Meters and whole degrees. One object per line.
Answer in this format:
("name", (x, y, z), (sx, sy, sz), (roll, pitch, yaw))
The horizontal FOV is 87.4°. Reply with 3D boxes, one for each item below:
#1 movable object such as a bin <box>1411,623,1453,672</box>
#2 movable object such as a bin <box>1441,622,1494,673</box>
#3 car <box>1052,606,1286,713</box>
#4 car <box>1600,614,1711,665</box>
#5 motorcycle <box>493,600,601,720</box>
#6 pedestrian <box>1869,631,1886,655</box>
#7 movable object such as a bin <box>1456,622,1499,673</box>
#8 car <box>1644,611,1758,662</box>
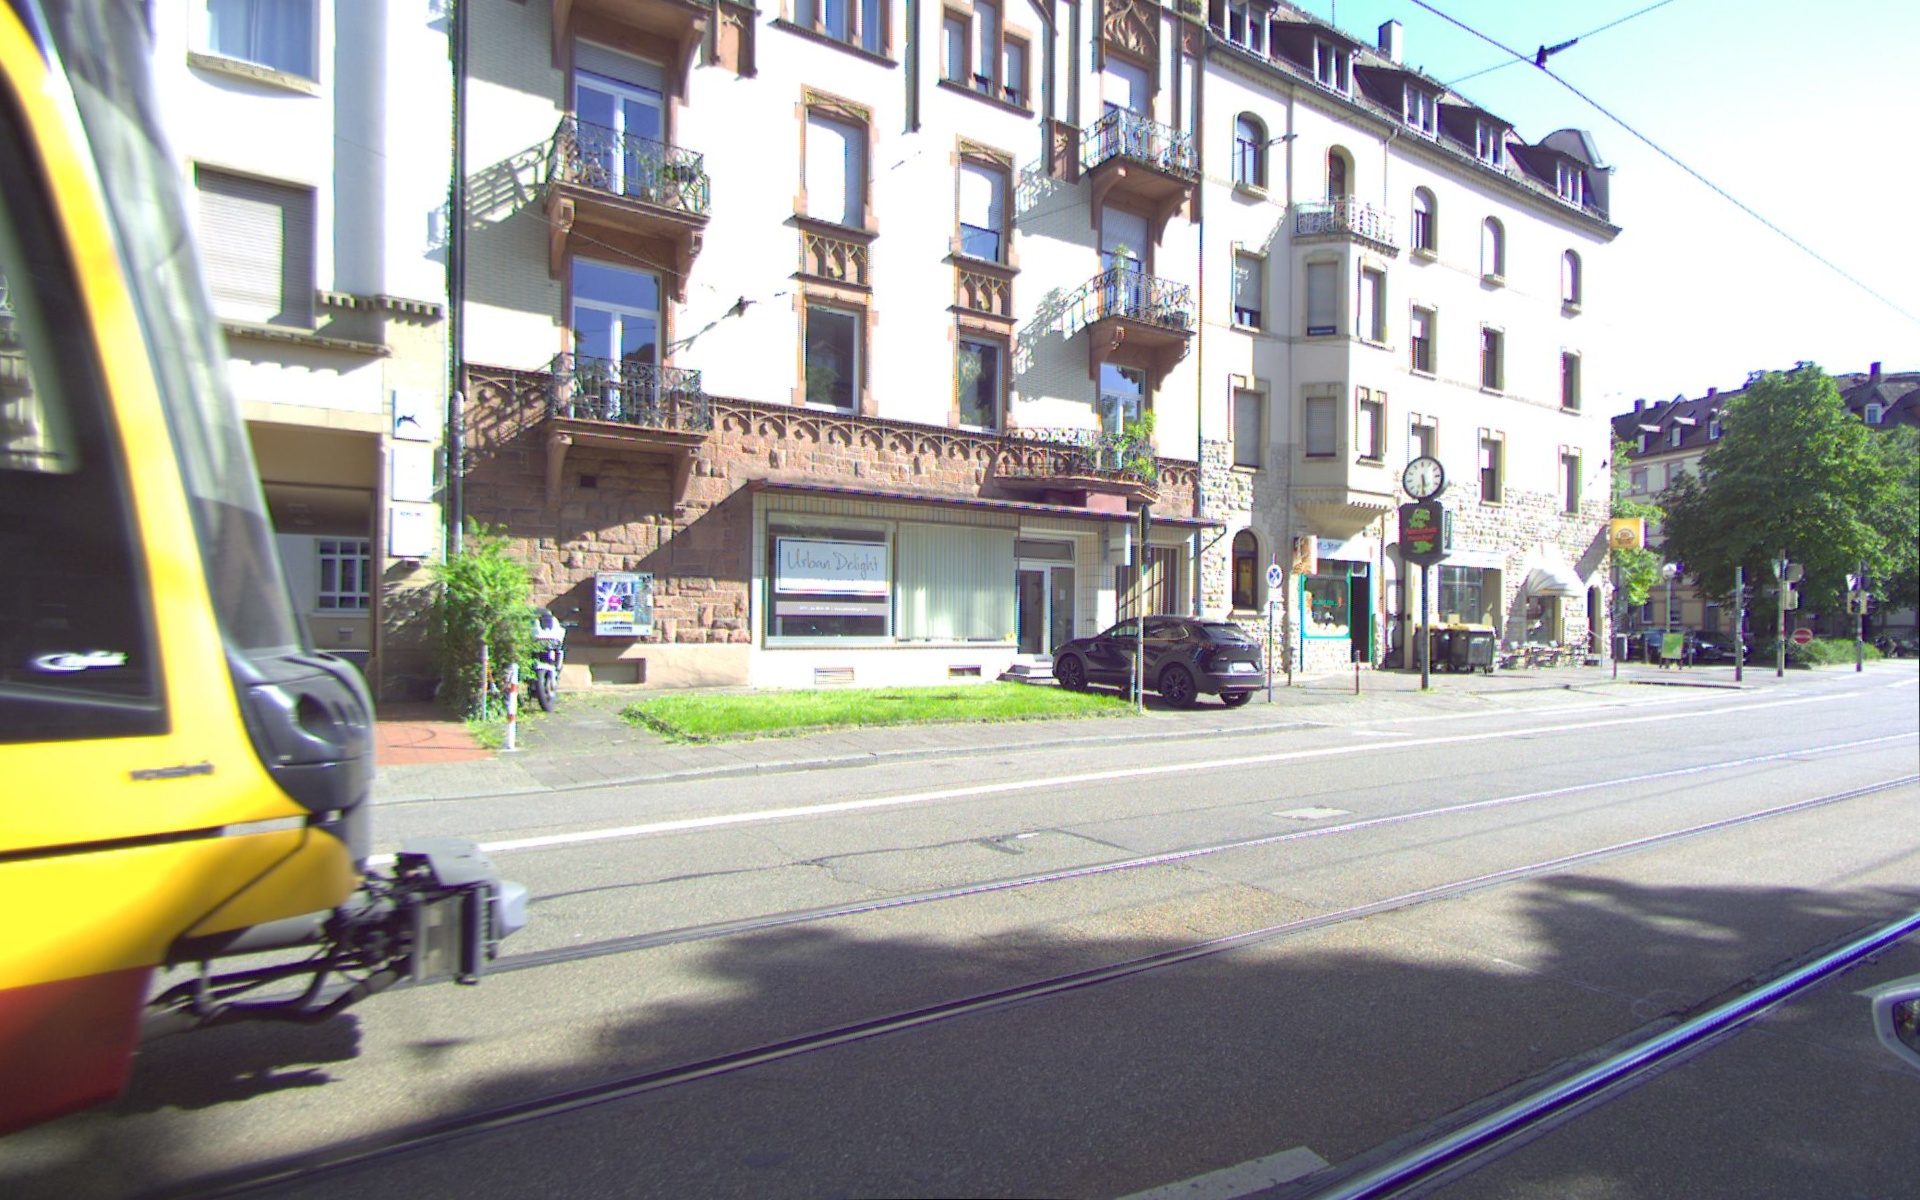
("movable object such as a bin", (13.409, 1.332, 28.533), (0.647, 1.343, 0.853), (2, 0, -20))
("movable object such as a bin", (14.320, 1.330, 28.341), (1.012, 1.399, 0.854), (2, 0, -20))
("car", (3.677, 0.998, 18.300), (1.756, 1.523, 3.957), (2, 1, -37))
("car", (30.374, 1.666, 44.028), (1.961, 2.040, 3.999), (2, 0, -2))
("motorcycle", (-5.860, 0.764, 14.112), (0.815, 1.476, 3.066), (2, 0, -33))
("pedestrian", (46.402, 2.165, 50.813), (0.570, 1.217, 0.605), (-1, -2, 38))
("movable object such as a bin", (15.059, 1.368, 29.254), (0.840, 1.399, 1.028), (2, 0, 14))
("car", (32.720, 1.568, 44.477), (1.961, 2.040, 3.999), (2, 0, -2))
